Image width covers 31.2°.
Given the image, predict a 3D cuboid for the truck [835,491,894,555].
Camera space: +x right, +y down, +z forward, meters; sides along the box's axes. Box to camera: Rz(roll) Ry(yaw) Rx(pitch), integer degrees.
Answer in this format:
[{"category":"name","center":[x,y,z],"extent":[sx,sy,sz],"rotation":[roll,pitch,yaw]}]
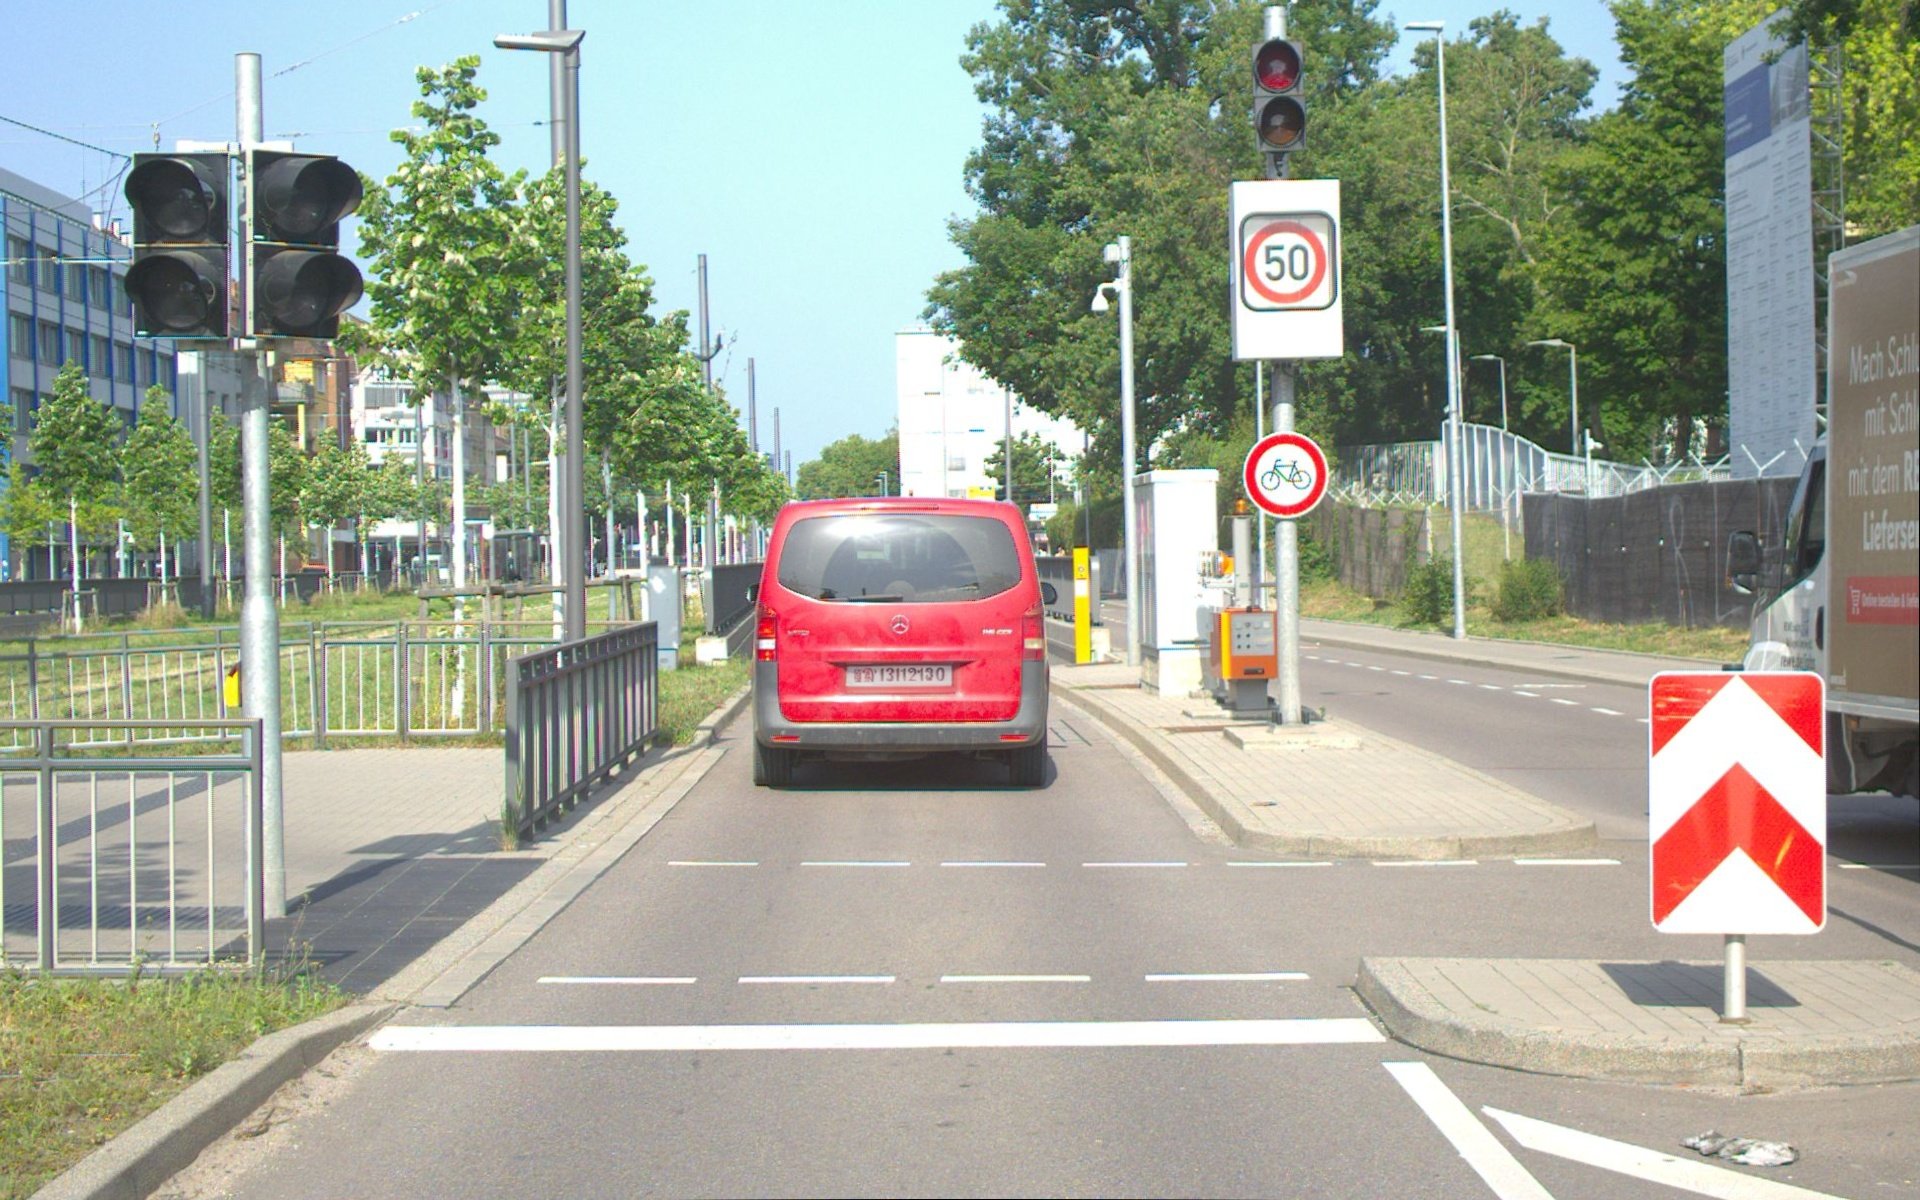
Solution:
[{"category":"truck","center":[-5.842,-4.648,208.800],"extent":[3.390,3.713,10.452],"rotation":[-1,1,-2]}]

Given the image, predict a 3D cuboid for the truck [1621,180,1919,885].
[{"category":"truck","center":[5.336,-0.292,16.485],"extent":[2.502,3.050,7.821],"rotation":[1,0,-2]}]

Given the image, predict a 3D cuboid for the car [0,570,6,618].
[{"category":"car","center":[-30.272,-0.119,104.657],"extent":[1.518,1.459,3.825],"rotation":[-2,2,-3]}]

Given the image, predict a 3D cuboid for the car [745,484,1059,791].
[{"category":"car","center":[-0.374,0.198,22.960],"extent":[1.901,1.853,4.000],"rotation":[1,1,-1]}]
